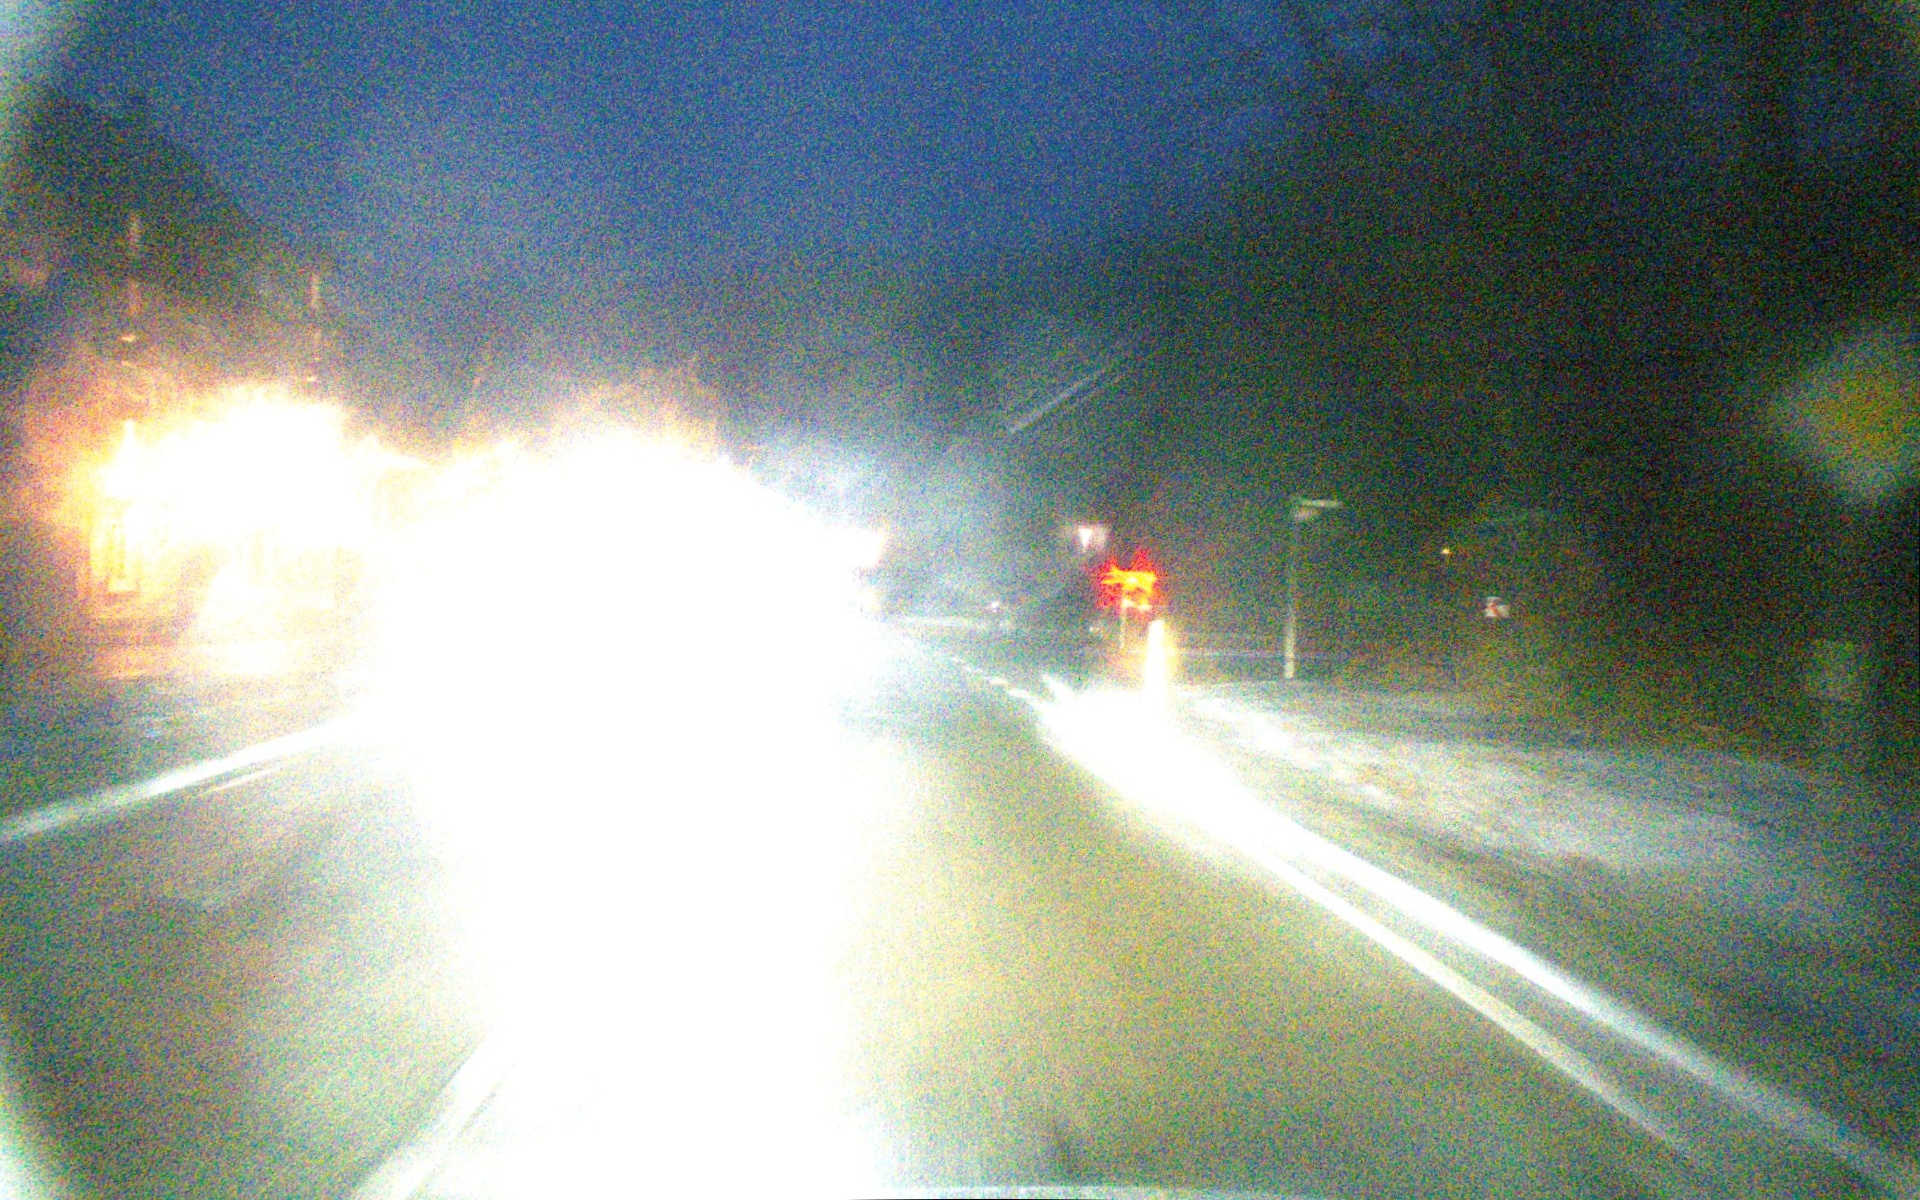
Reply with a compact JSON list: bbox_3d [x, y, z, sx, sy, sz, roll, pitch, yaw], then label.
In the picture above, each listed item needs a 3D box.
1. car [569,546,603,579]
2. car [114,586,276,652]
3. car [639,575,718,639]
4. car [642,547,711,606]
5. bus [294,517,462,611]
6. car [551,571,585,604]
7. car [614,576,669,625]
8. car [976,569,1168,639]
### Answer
[{"bbox_3d":[-24.490,-2.417,108.193,1.961,2.049,3.983,1,0,-16],"label":"car"},{"bbox_3d":[-18.710,0.428,40.655,1.652,1.422,4.154,-2,1,6],"label":"car"},{"bbox_3d":[-7.398,0.175,43.441,1.920,1.548,4.388,1,0,-10],"label":"car"},{"bbox_3d":[-13.741,-1.197,79.888,2.499,2.540,5.689,0,4,-18],"label":"car"},{"bbox_3d":[-26.484,-1.674,74.655,2.875,3.936,12.872,0,2,-40],"label":"bus"},{"bbox_3d":[-20.404,-0.667,86.048,1.667,1.627,3.787,0,2,-14],"label":"car"},{"bbox_3d":[-10.648,-0.018,55.156,1.682,1.501,3.857,1,1,-13],"label":"car"},{"bbox_3d":[2.899,0.091,43.355,4.678,1.721,1.954,1,0,35],"label":"car"}]
